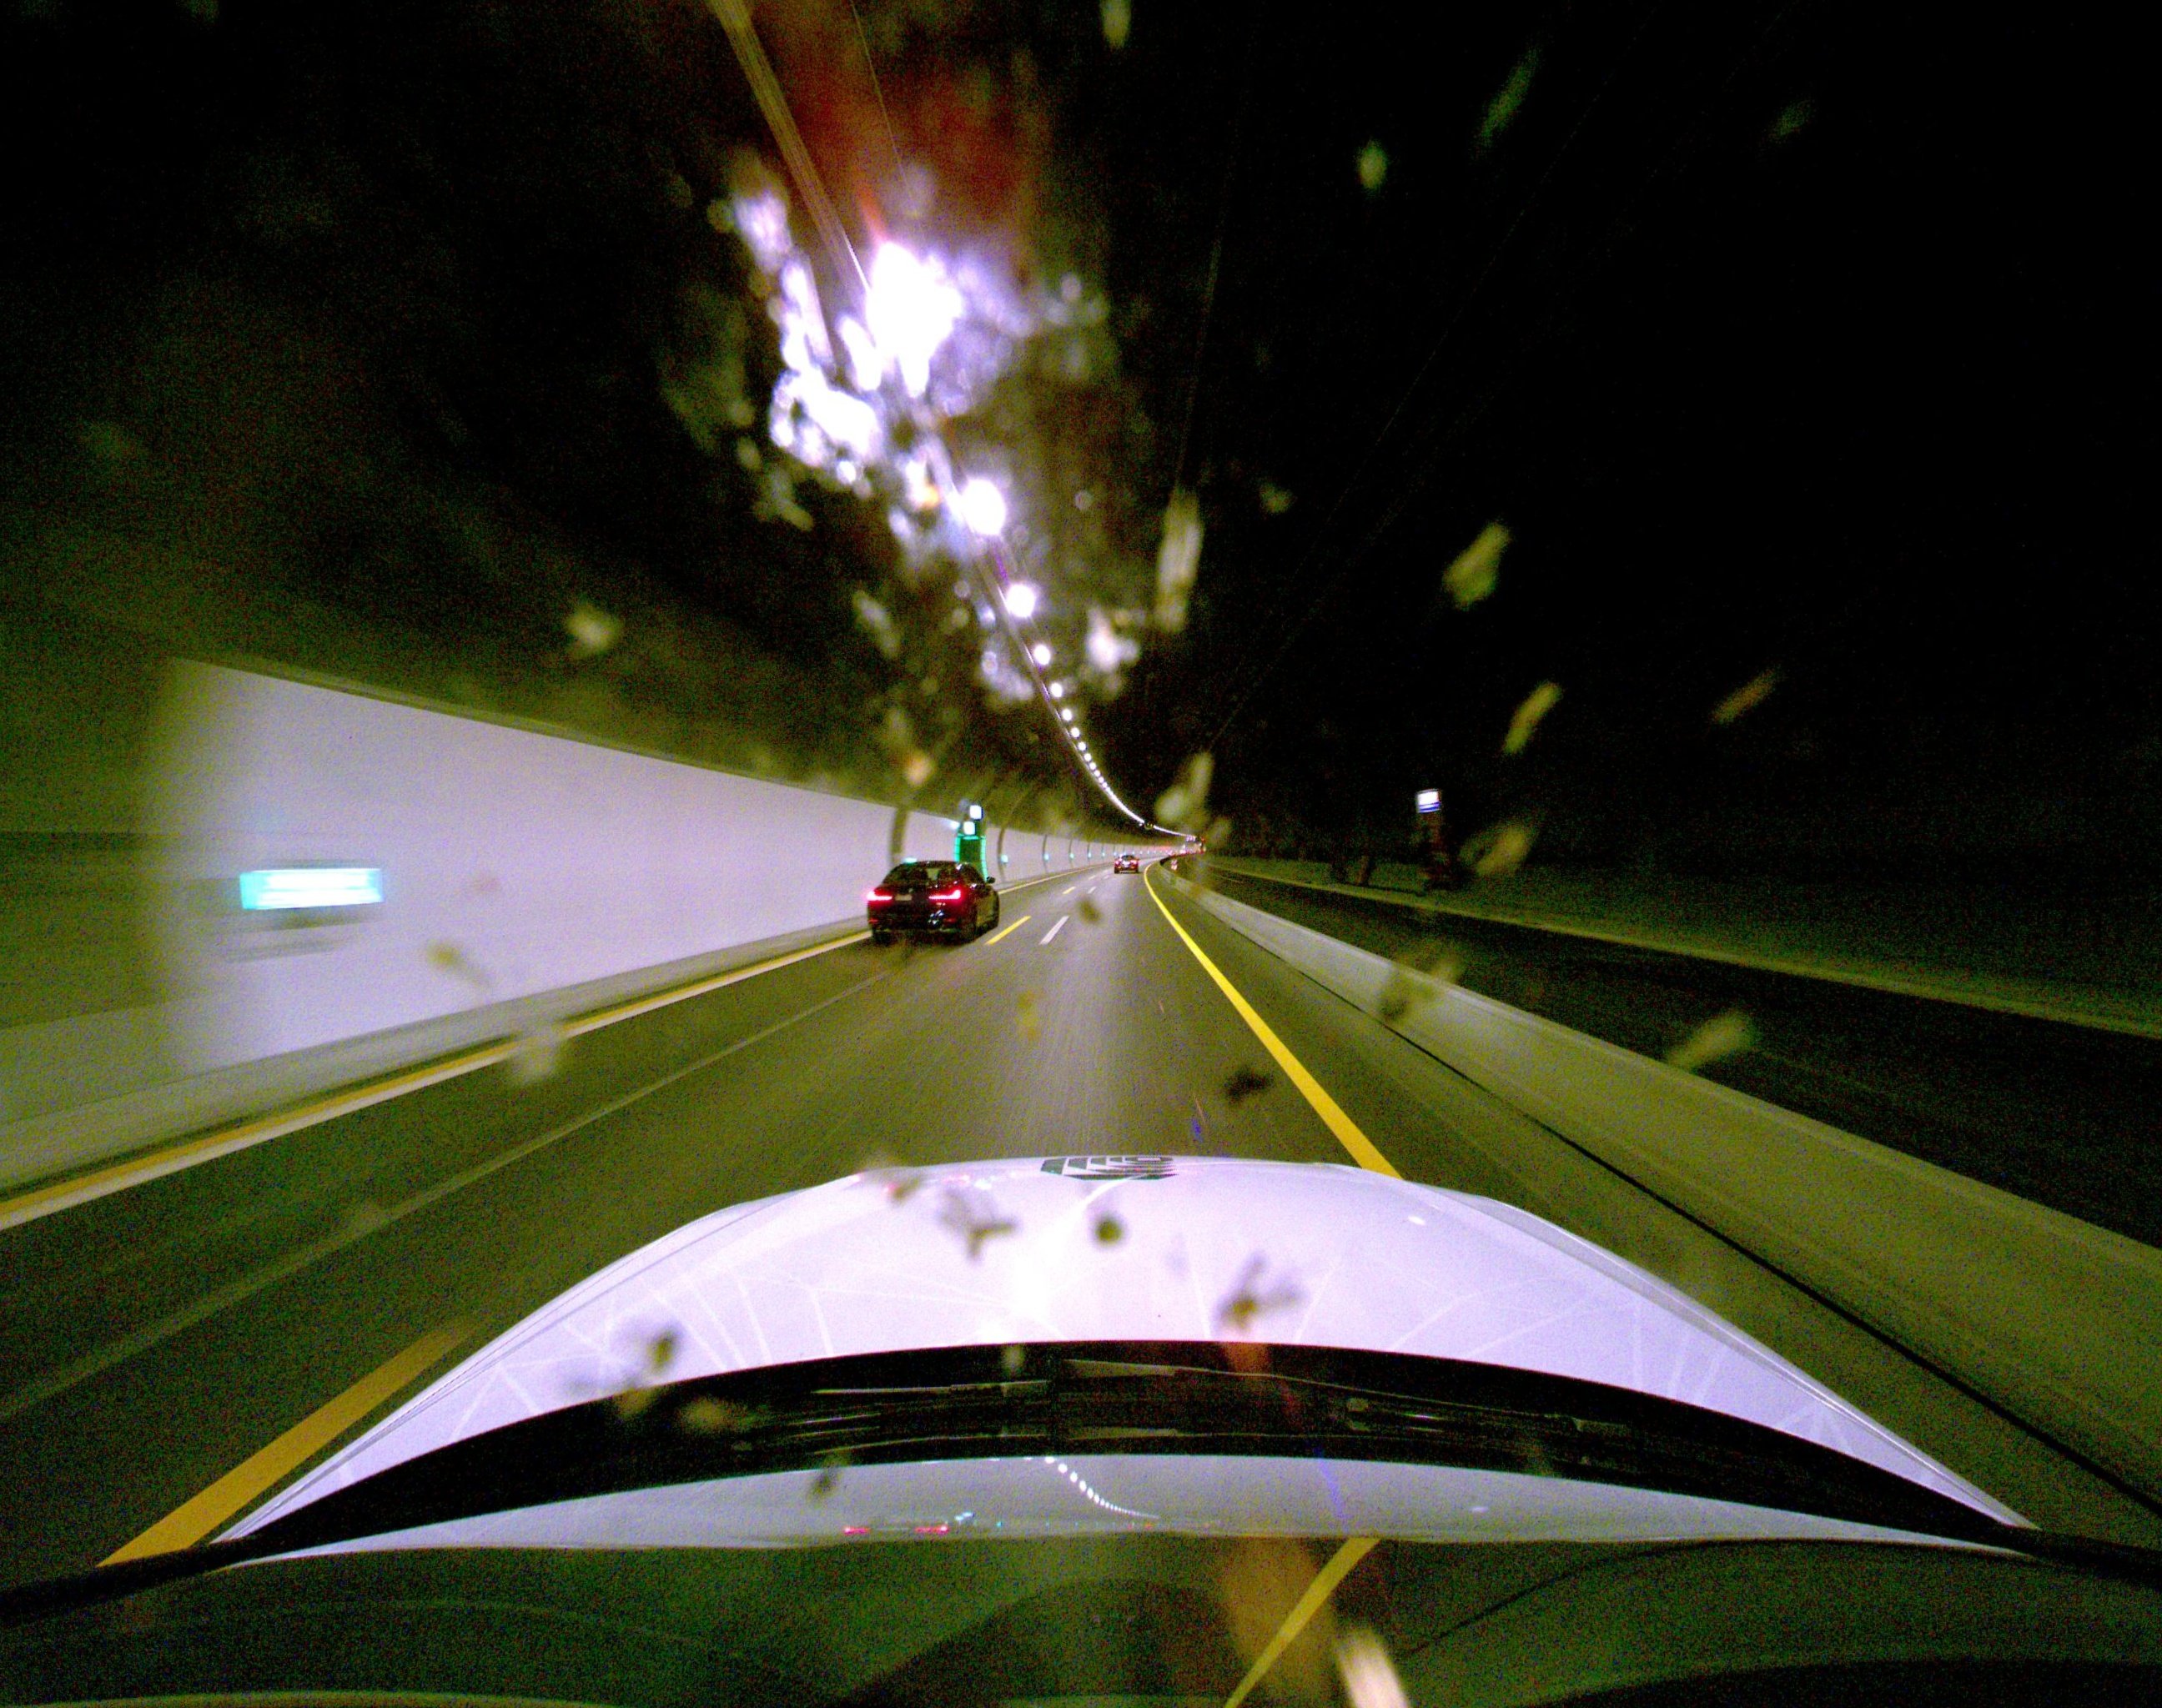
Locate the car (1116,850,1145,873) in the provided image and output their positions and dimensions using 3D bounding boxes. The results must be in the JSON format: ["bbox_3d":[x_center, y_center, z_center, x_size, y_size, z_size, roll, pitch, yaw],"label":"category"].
[{"bbox_3d":[3.896,0.589,63.518,2.130,1.706,4.007,-1,0,6],"label":"car"}]

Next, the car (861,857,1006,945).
[{"bbox_3d":[-2.696,0.802,16.034,1.771,1.438,4.885,0,0,2],"label":"car"}]

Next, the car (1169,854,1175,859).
[{"bbox_3d":[25.077,0.763,224.808,1.587,1.333,3.757,0,0,6],"label":"car"}]
